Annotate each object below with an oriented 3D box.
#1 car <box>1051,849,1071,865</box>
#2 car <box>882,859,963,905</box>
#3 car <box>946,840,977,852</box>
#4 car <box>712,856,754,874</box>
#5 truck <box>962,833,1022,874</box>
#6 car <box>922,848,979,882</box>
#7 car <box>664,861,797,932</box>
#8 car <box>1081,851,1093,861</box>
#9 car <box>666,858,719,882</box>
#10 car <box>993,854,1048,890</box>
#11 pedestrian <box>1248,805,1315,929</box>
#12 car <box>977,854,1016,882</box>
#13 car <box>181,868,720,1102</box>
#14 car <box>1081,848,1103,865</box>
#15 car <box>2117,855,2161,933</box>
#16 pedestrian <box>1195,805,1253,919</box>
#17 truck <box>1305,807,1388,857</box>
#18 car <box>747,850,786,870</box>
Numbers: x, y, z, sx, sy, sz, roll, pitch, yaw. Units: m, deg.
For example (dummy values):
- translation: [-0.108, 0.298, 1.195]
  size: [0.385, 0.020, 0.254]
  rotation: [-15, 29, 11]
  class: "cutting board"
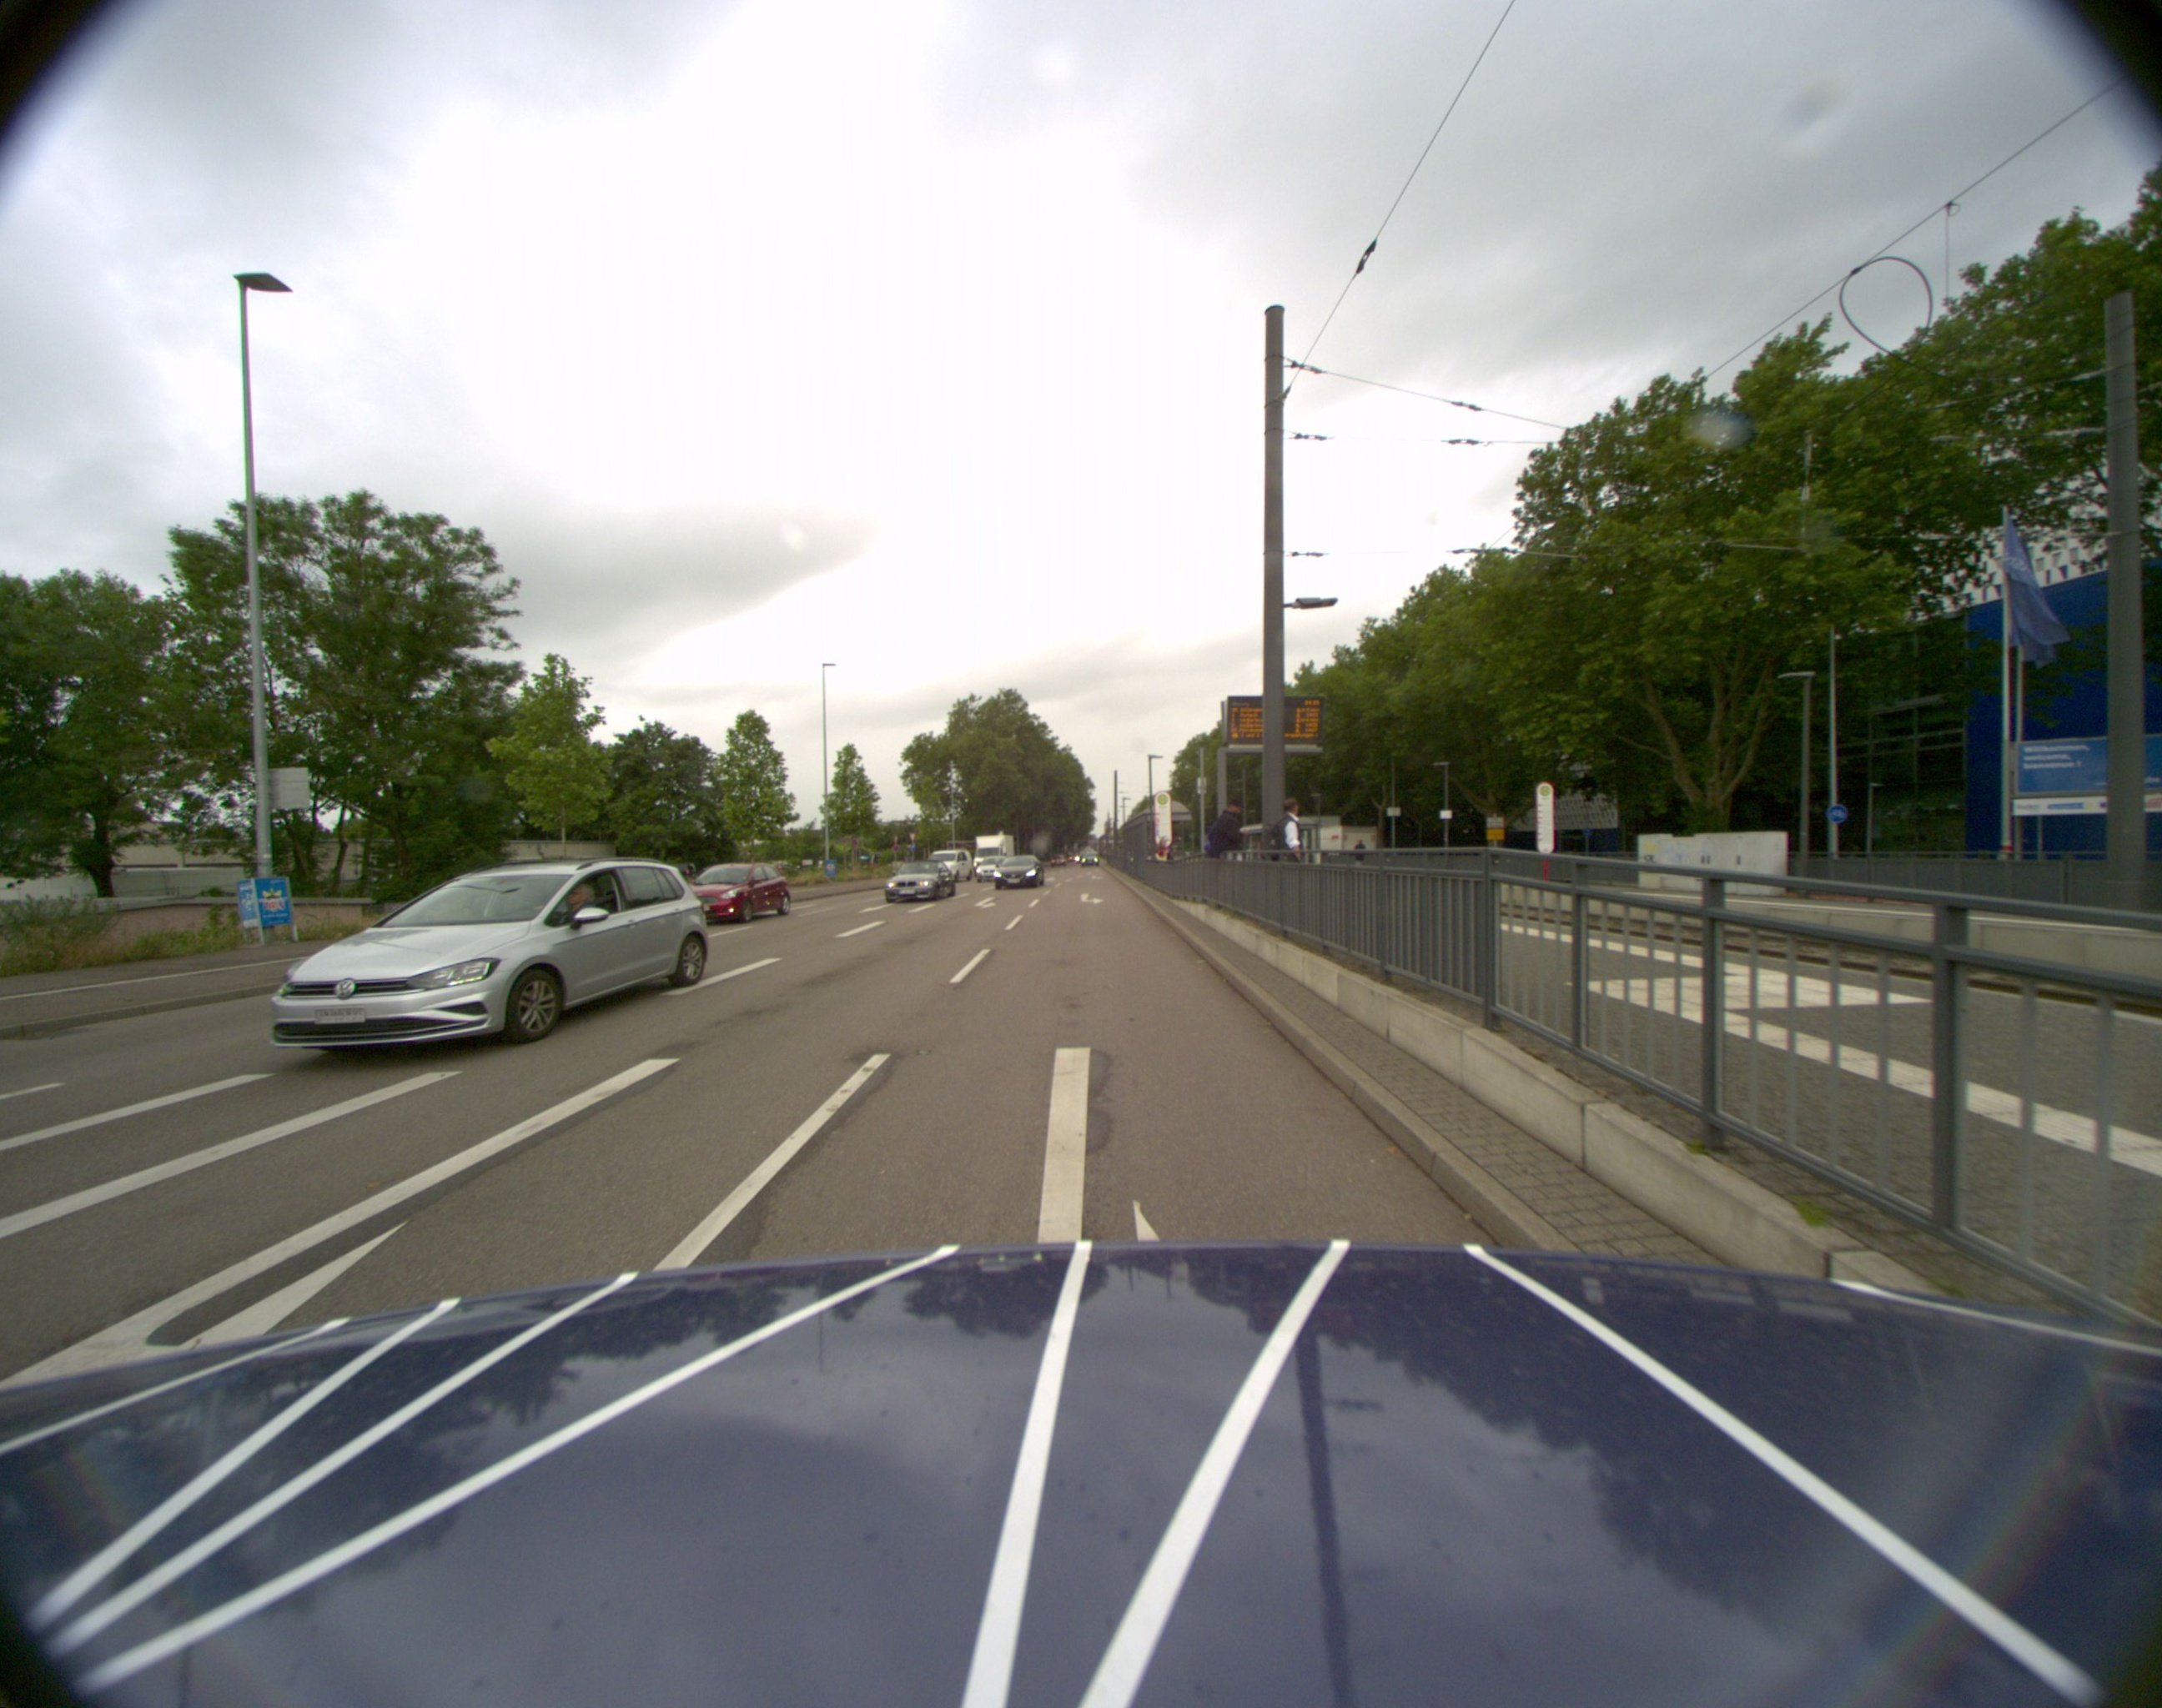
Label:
- translation: [-2.354, 0.330, 92.028]
  size: [1.892, 1.673, 4.001]
  rotation: [-2, 1, 6]
  class: "car"
- translation: [-5.470, 0.917, 26.720]
  size: [1.875, 1.383, 4.343]
  rotation: [-2, 0, 0]
  class: "car"
- translation: [-16.788, -1.190, 106.707]
  size: [3.998, 1.499, 1.809]
  rotation: [-2, 2, -3]
  class: "car"
- translation: [-34.051, 1.049, 74.480]
  size: [2.123, 1.686, 4.649]
  rotation: [-2, 0, -2]
  class: "car"
- translation: [-6.701, -0.074, 58.055]
  size: [2.824, 2.906, 6.548]
  rotation: [-2, 0, 8]
  class: "truck"
- translation: [-7.799, 0.601, 45.914]
  size: [2.098, 1.869, 5.122]
  rotation: [-2, 0, 5]
  class: "car"
- translation: [-9.038, 1.032, 19.945]
  size: [1.655, 1.552, 3.771]
  rotation: [-2, 0, 0]
  class: "car"
- translation: [1.040, 0.291, 123.215]
  size: [1.712, 1.664, 3.714]
  rotation: [0, 0, 4]
  class: "car"
- translation: [-33.740, 1.384, 66.149]
  size: [2.188, 2.002, 4.559]
  rotation: [0, 0, 1]
  class: "car"
- translation: [-2.589, 0.727, 33.467]
  size: [1.998, 1.383, 4.343]
  rotation: [-2, 0, 0]
  class: "car"
- translation: [2.632, 0.162, 10.027]
  size: [0.710, 1.551, 0.632]
  rotation: [-2, 2, 4]
  class: "pedestrian"
- translation: [-4.810, 0.764, 43.711]
  size: [1.682, 1.410, 3.850]
  rotation: [-2, 0, 0]
  class: "car"
- translation: [-5.595, 0.995, 7.646]
  size: [1.859, 1.543, 4.200]
  rotation: [-2, 1, 0]
  class: "car"
- translation: [1.258, 0.239, 82.565]
  size: [1.960, 1.674, 4.001]
  rotation: [-2, 1, 6]
  class: "car"
- translation: [20.706, 0.740, 12.557]
  size: [1.726, 1.410, 4.000]
  rotation: [-1, 0, 1]
  class: "car"
- translation: [2.257, 0.124, 12.039]
  size: [0.787, 1.732, 0.587]
  rotation: [-2, 2, 5]
  class: "pedestrian"
- translation: [21.334, -1.696, 61.853]
  size: [3.259, 3.642, 9.895]
  rotation: [1, 1, 0]
  class: "truck"
- translation: [-34.601, 0.635, 83.732]
  size: [2.316, 2.002, 4.558]
  rotation: [-2, 0, 1]
  class: "car"
